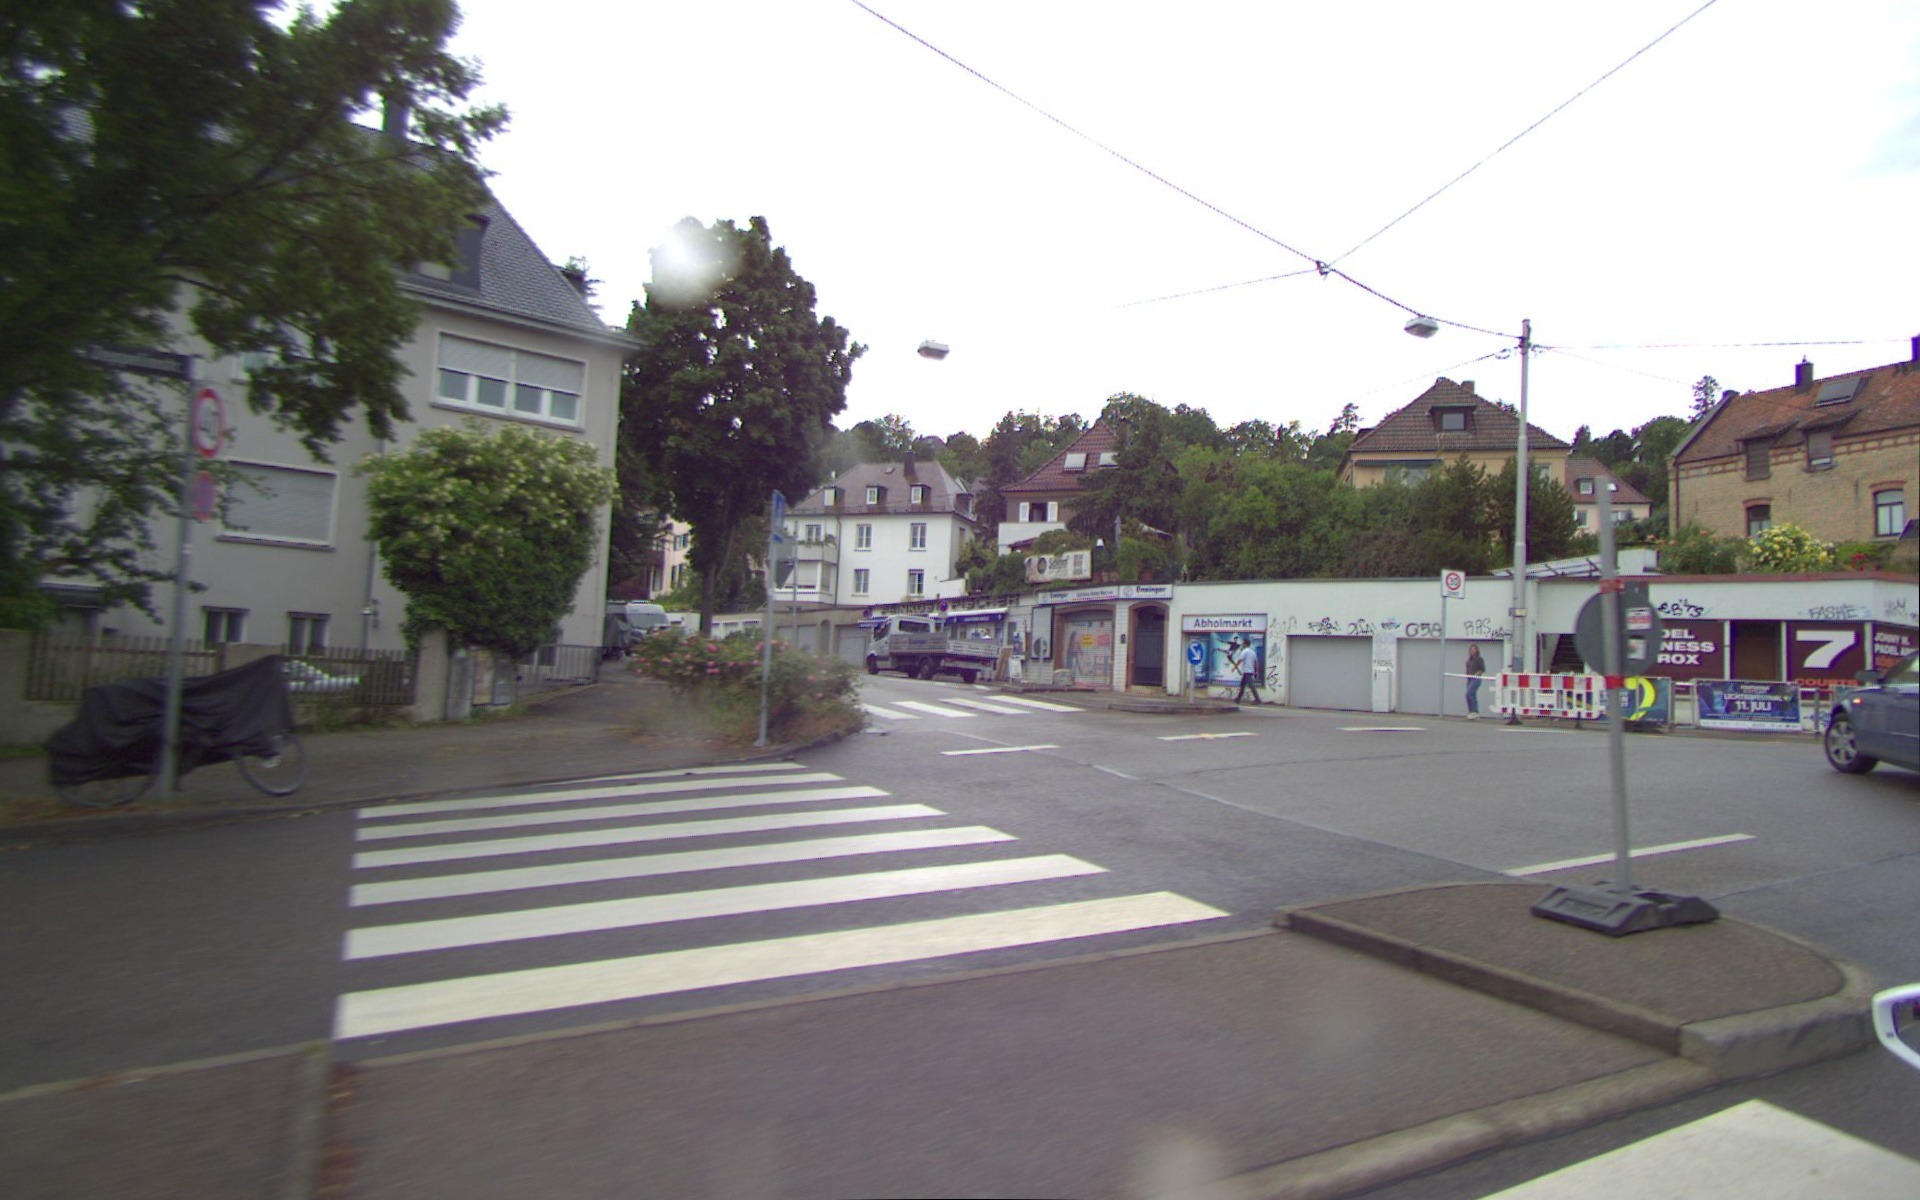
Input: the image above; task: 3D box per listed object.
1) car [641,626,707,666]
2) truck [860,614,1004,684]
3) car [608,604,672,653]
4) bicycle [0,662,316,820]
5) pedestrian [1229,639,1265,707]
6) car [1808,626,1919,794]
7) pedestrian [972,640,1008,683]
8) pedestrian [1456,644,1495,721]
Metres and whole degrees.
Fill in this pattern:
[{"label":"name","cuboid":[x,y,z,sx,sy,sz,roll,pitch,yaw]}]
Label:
[{"label":"car","cuboid":[-11.890,1.875,41.573,1.527,1.548,3.645,2,-2,-35]},{"label":"truck","cuboid":[-1.179,1.712,36.399,2.287,2.299,6.756,2,-2,-30]},{"label":"car","cuboid":[-14.905,1.330,46.604,1.815,2.151,5.002,2,-2,-29]},{"label":"bicycle","cuboid":[-6.349,1.081,8.084,1.939,1.099,0.418,0,0,-29]},{"label":"pedestrian","cuboid":[7.965,2.000,27.857,0.695,1.829,0.806,1,-2,37]},{"label":"car","cuboid":[9.378,1.014,8.843,1.782,1.458,4.080,3,-1,24]},{"label":"pedestrian","cuboid":[1.088,2.227,36.499,0.880,1.525,0.971,2,0,-29]},{"label":"pedestrian","cuboid":[11.674,1.863,22.757,0.572,1.711,0.627,0,-4,9]}]
